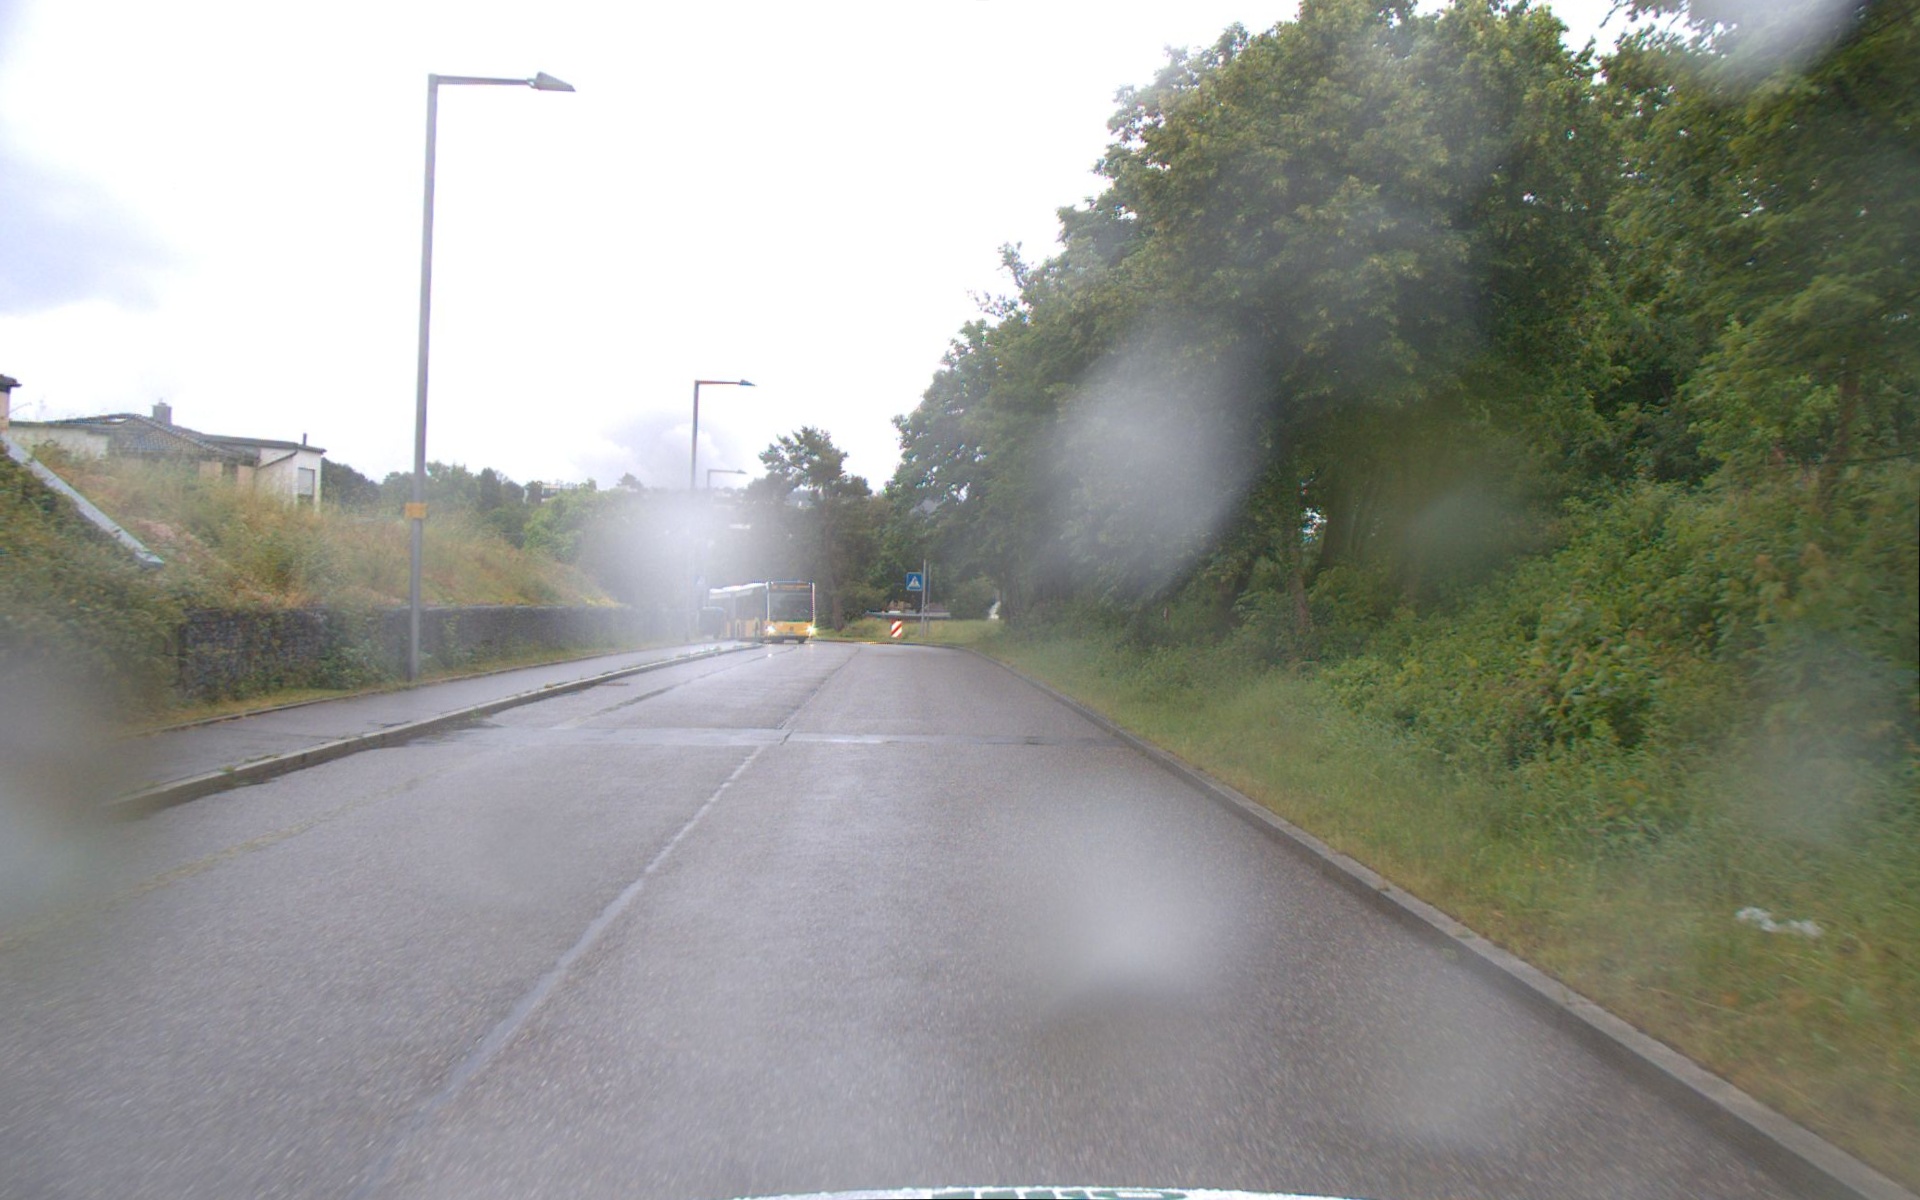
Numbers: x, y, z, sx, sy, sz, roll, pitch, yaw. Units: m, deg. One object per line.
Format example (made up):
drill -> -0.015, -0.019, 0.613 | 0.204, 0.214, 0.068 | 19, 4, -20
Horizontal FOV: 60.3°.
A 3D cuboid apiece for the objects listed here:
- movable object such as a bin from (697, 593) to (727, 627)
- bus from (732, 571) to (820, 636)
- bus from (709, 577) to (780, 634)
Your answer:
movable object such as a bin -> -10.723, 0.441, 71.408 | 1.111, 1.362, 1.394 | 4, -1, -12
bus -> -9.665, 0.255, 85.808 | 2.598, 3.121, 10.803 | 1, -1, -17
bus -> -12.404, 0.323, 94.593 | 2.599, 3.086, 7.625 | 1, -1, -18
